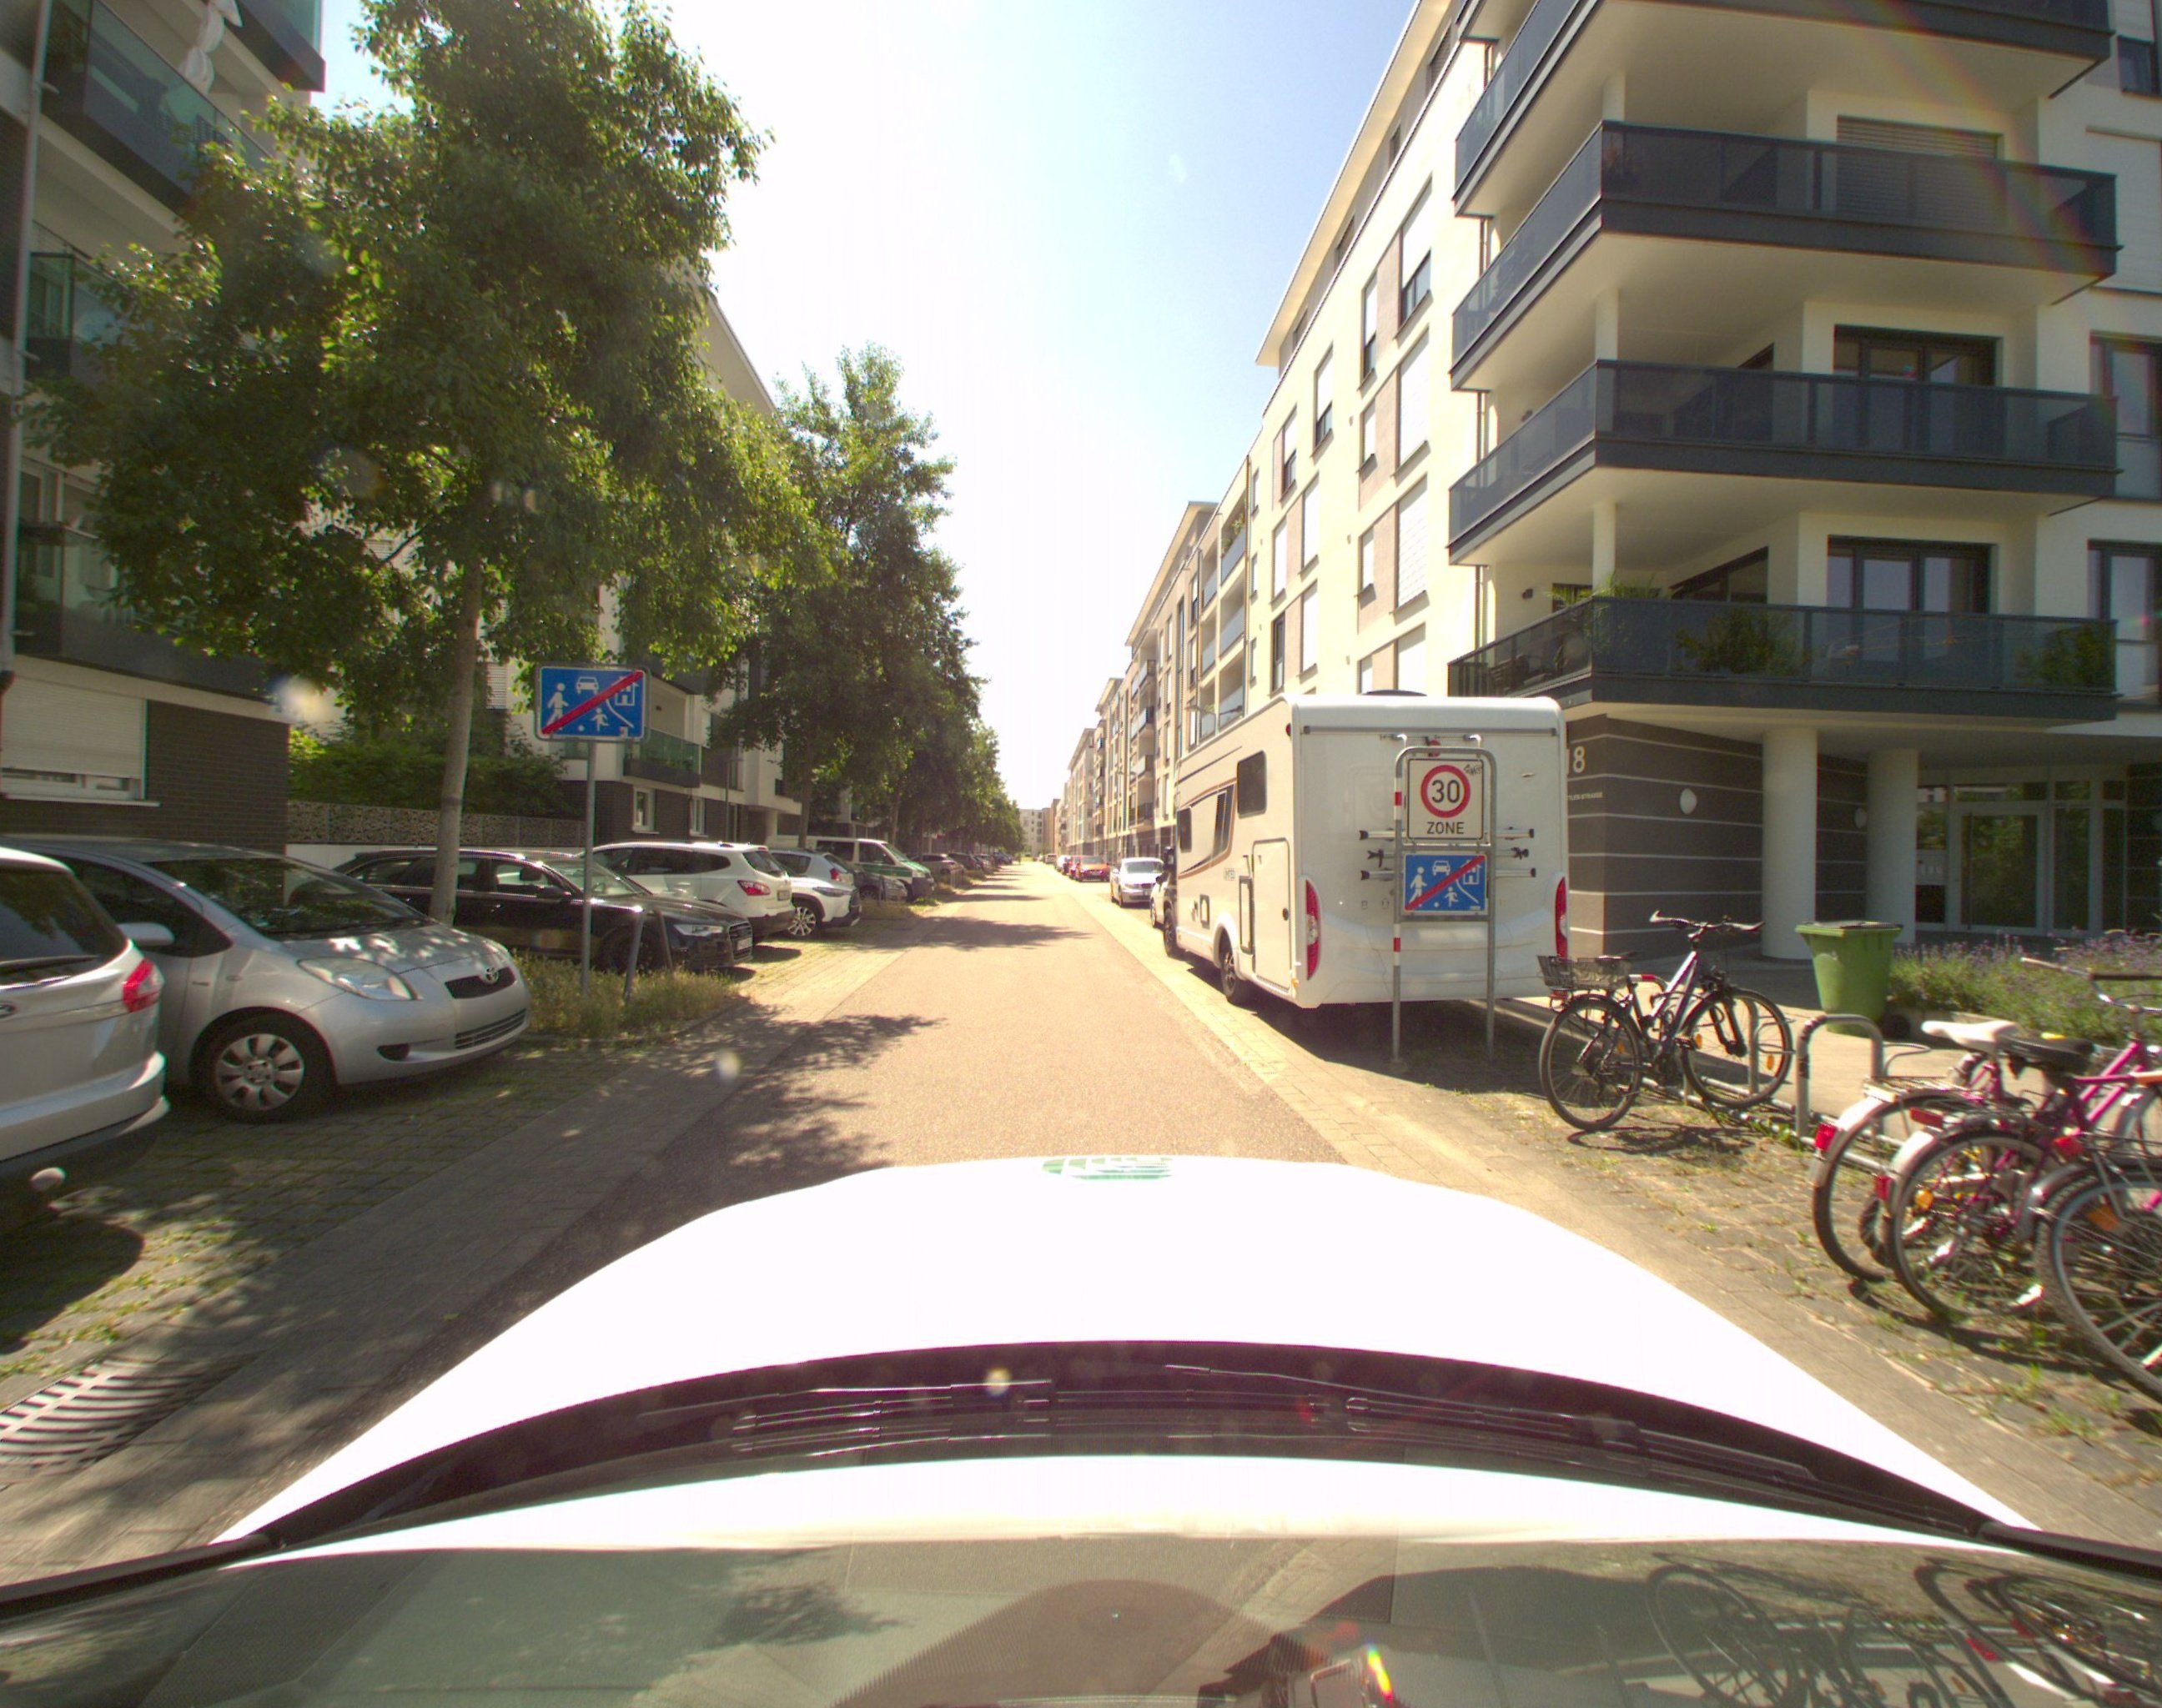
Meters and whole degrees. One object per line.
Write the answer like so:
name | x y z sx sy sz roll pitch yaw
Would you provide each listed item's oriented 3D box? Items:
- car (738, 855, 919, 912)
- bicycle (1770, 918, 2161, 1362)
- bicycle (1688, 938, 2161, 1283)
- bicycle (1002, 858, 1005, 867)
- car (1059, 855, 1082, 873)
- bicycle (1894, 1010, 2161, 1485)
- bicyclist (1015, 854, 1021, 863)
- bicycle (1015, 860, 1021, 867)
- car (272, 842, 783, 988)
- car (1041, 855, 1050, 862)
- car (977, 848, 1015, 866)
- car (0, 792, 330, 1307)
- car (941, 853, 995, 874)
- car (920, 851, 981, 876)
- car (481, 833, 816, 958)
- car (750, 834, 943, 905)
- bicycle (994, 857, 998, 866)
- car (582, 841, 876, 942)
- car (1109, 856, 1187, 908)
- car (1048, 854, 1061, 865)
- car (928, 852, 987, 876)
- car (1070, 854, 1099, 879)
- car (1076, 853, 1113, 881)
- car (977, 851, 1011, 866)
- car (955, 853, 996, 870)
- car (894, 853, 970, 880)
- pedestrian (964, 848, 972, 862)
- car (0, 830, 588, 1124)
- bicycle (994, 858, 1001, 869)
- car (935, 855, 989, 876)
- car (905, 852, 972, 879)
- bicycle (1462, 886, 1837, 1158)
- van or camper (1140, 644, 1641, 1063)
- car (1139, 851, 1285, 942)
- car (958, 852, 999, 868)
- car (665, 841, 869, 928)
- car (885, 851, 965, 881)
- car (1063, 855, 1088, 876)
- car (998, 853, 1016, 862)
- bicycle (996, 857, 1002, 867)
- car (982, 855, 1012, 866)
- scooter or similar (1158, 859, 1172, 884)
car | -6.801 0.775 22.378 4.414 1.490 1.996 0 0 -6
bicycle | 3.382 0.846 2.667 1.845 1.223 0.555 0 0 -3
bicycle | 3.354 0.896 3.042 1.878 1.110 0.475 0 0 -3
bicycle | -10.524 1.144 110.681 0.465 1.141 1.922 0 0 -6
car | -1.003 0.851 72.653 1.830 1.505 4.345 -1 0 -3
bicycle | 3.483 0.981 2.039 1.842 0.975 0.947 -1 0 9
bicyclist | -10.433 0.754 135.211 0.952 1.459 0.798 0 0 -4
bicycle | -10.435 1.576 135.276 0.897 1.129 2.037 0 0 -4
car | -6.438 0.697 9.975 4.840 1.456 1.827 2 0 -4
car | -8.572 1.109 196.687 1.990 1.675 3.993 0 0 -5
car | -13.798 0.531 132.998 6.012 2.816 2.601 0 0 -4
car | -5.925 0.574 2.504 5.022 1.632 2.038 1 0 -7
car | -9.538 0.799 69.086 4.355 1.710 1.996 -1 0 -6
car | -9.068 0.663 56.919 3.979 1.629 1.930 2 0 -4
car | -6.387 0.591 12.429 3.970 1.629 1.948 2 0 -2
car | -7.110 0.468 25.203 5.328 2.110 2.185 0 0 -2
bicycle | -11.531 1.054 110.396 0.433 1.204 1.698 2 1 -3
car | -6.270 0.676 15.073 4.556 1.594 1.960 2 -1 -9
car | 1.942 0.794 24.942 1.841 1.416 4.421 1 0 -3
car | -4.235 0.836 128.252 1.993 1.657 4.110 0 0 -3
car | -8.972 0.734 59.455 3.977 1.651 1.917 2 0 -2
car | 0.191 0.789 51.555 1.592 1.485 3.671 -1 0 -3
car | 0.728 0.706 46.052 1.734 1.487 4.253 -1 0 -3
car | -13.604 0.723 127.572 5.135 2.119 2.308 1 0 -4
car | -10.550 0.787 81.609 3.930 1.553 1.869 2 0 -5
car | -8.976 0.736 49.445 4.308 1.476 1.790 2 0 -4
pedestrian | -16.394 0.174 117.836 1.006 2.014 1.129 0 0 -1
car | -5.911 0.665 5.228 4.247 1.530 1.818 2 0 -7
bicycle | -9.430 1.073 92.006 0.434 1.128 1.968 0 0 -15
car | -9.020 0.844 62.098 3.971 1.445 1.771 2 -1 -8
car | -9.072 0.701 52.002 3.978 1.592 1.881 2 0 -4
bicycle | 3.272 0.851 4.702 1.922 1.222 0.821 -1 1 -20
van or camper | 2.521 0.061 9.666 2.434 2.906 7.813 1 -1 -5
car | 2.381 0.727 15.948 1.804 1.505 4.252 -1 0 -6
car | -10.623 0.619 84.510 4.177 1.486 1.954 1 -2 -8
car | -6.674 0.644 17.685 3.673 1.676 1.849 2 0 -5
car | -8.955 0.706 46.997 4.244 1.517 1.921 3 0 -5
car | -0.434 0.824 61.291 1.639 1.462 4.111 -1 0 -4
car | -17.309 0.900 191.656 3.971 2.014 2.001 0 0 2
bicycle | -11.099 1.087 110.421 0.570 1.174 1.762 3 1 -10
car | -12.417 0.955 120.461 4.374 1.515 2.072 2 0 -4
scooter or similar | 4.287 0.871 41.504 0.542 1.225 1.534 1 0 11
